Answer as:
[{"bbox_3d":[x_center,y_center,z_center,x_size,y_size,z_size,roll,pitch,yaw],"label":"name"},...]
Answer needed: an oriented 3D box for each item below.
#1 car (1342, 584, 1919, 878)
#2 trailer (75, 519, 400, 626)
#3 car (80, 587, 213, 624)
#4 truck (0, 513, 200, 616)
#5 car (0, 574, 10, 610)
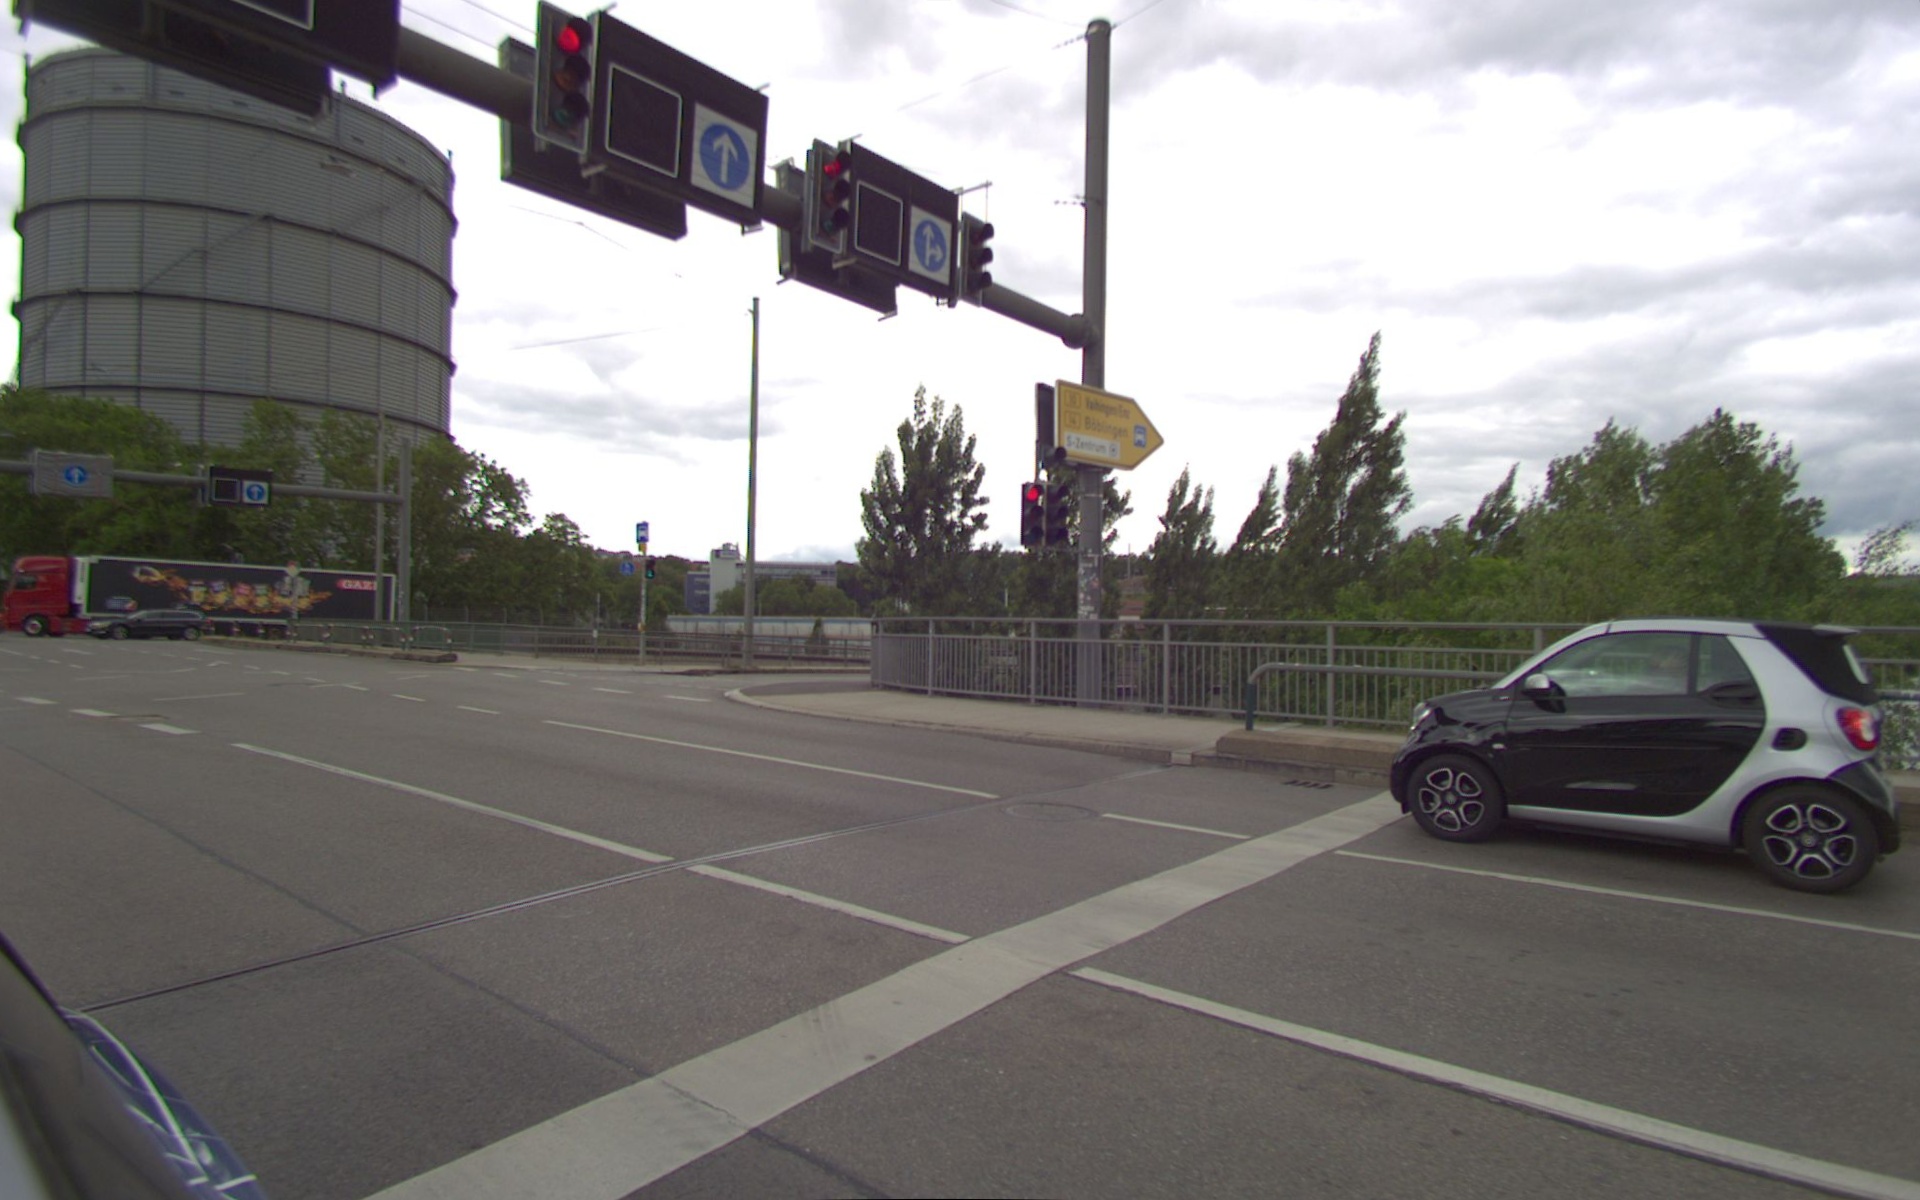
[{"bbox_3d":[4.780,0.688,6.637,3.870,1.515,1.816,1,-1,42],"label":"car"},{"bbox_3d":[-38.058,-1.212,54.079,13.566,4.354,3.677,6,-4,-41],"label":"trailer"},{"bbox_3d":[-37.472,0.270,46.716,1.691,1.431,4.422,1,-3,30],"label":"car"},{"bbox_3d":[-42.793,-1.622,50.412,7.111,4.354,3.683,5,-3,-29],"label":"truck"},{"bbox_3d":[-38.586,-0.358,38.114,1.672,1.431,4.472,1,-1,-5],"label":"car"}]
